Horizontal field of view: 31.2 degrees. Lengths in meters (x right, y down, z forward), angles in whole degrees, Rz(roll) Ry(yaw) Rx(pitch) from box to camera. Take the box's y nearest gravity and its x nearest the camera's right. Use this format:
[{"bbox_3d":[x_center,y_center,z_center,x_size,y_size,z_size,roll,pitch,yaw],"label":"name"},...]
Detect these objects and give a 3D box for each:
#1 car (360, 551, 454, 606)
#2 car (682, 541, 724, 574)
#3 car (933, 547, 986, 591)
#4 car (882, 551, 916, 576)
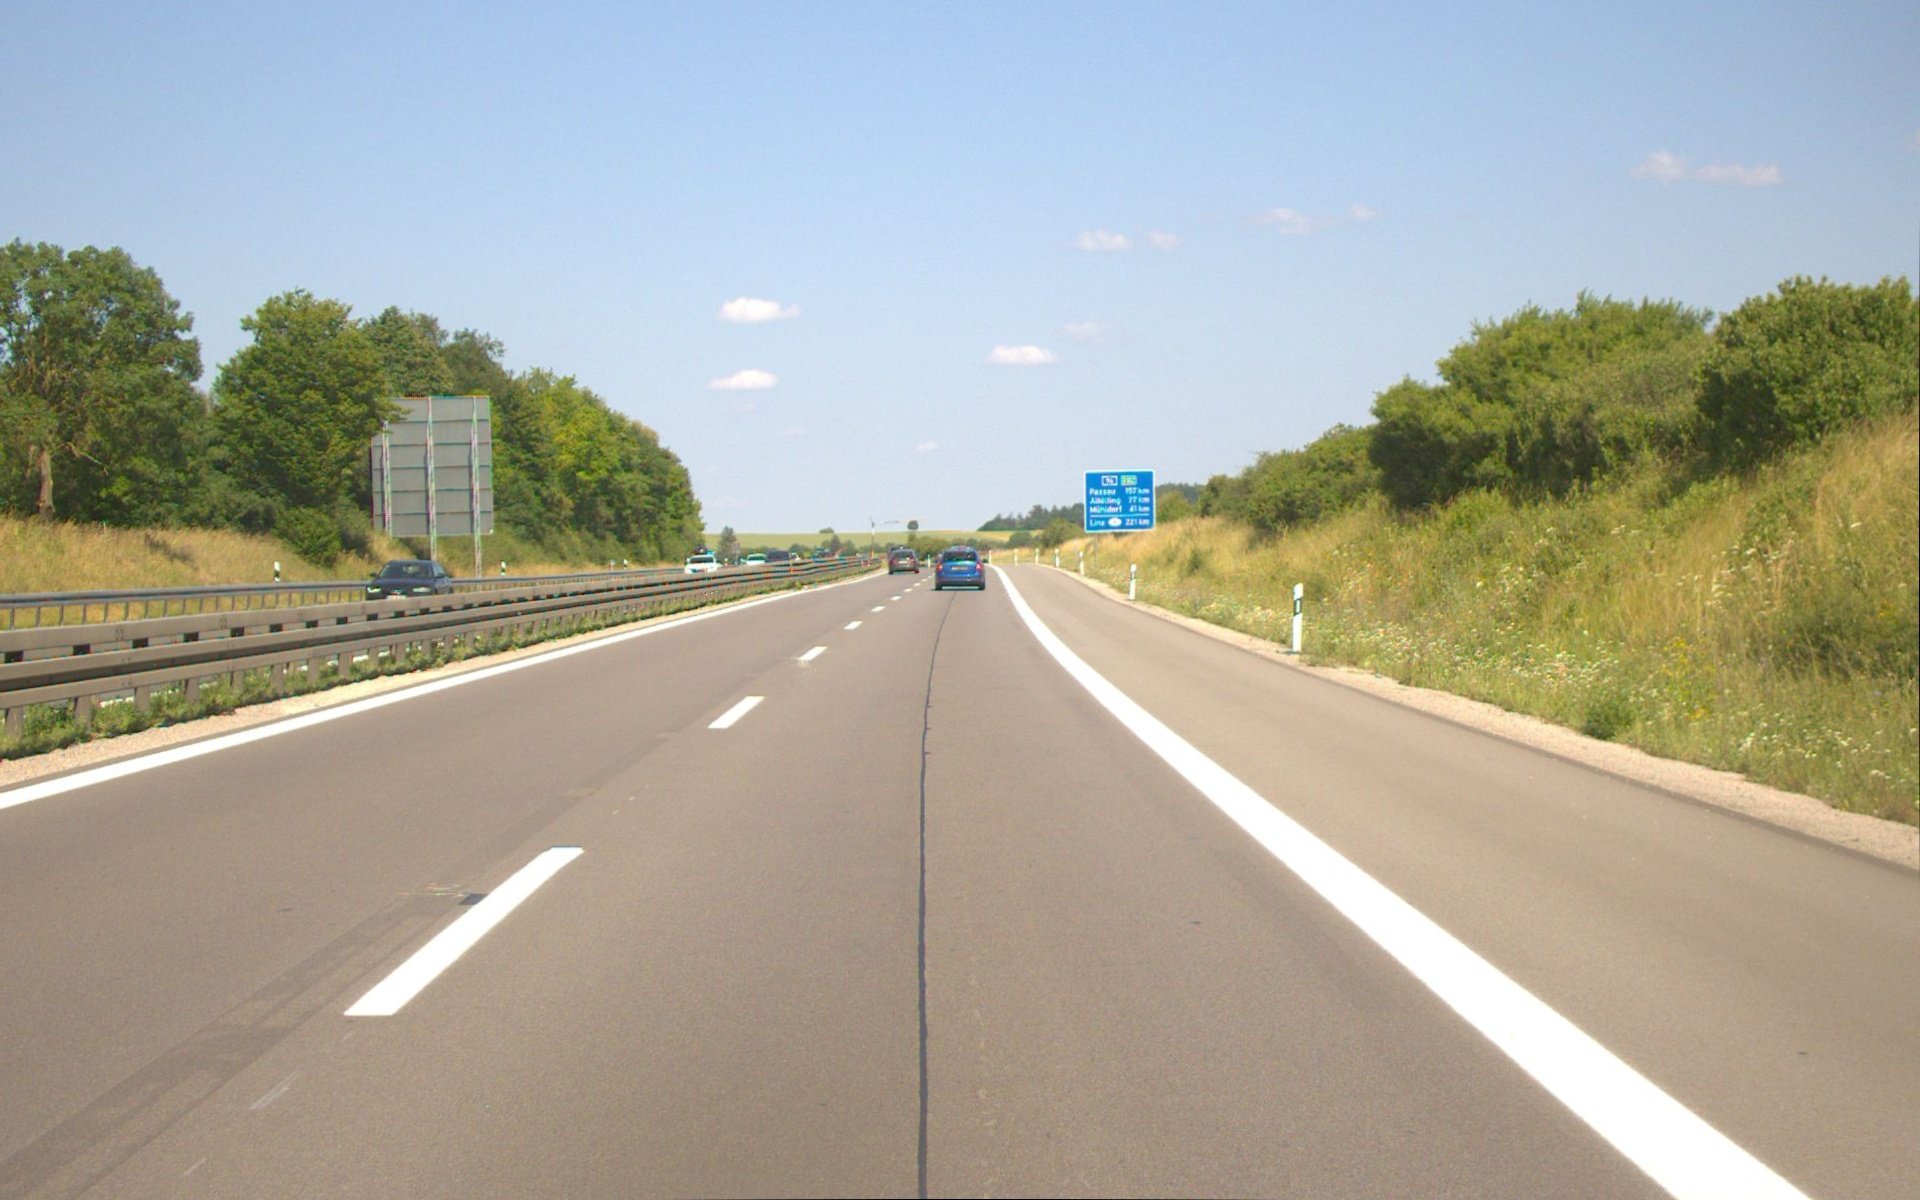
[{"bbox_3d":[-15.217,-0.618,94.781,1.724,1.462,5.241,0,1,0],"label":"car"},{"bbox_3d":[-14.562,-2.421,194.930,1.945,1.839,5.184,-1,1,1],"label":"car"},{"bbox_3d":[-0.001,-1.095,120.281,1.676,1.448,3.592,-3,0,2],"label":"car"},{"bbox_3d":[-3.655,-2.189,206.402,1.829,1.448,3.592,-3,0,1],"label":"car"}]
